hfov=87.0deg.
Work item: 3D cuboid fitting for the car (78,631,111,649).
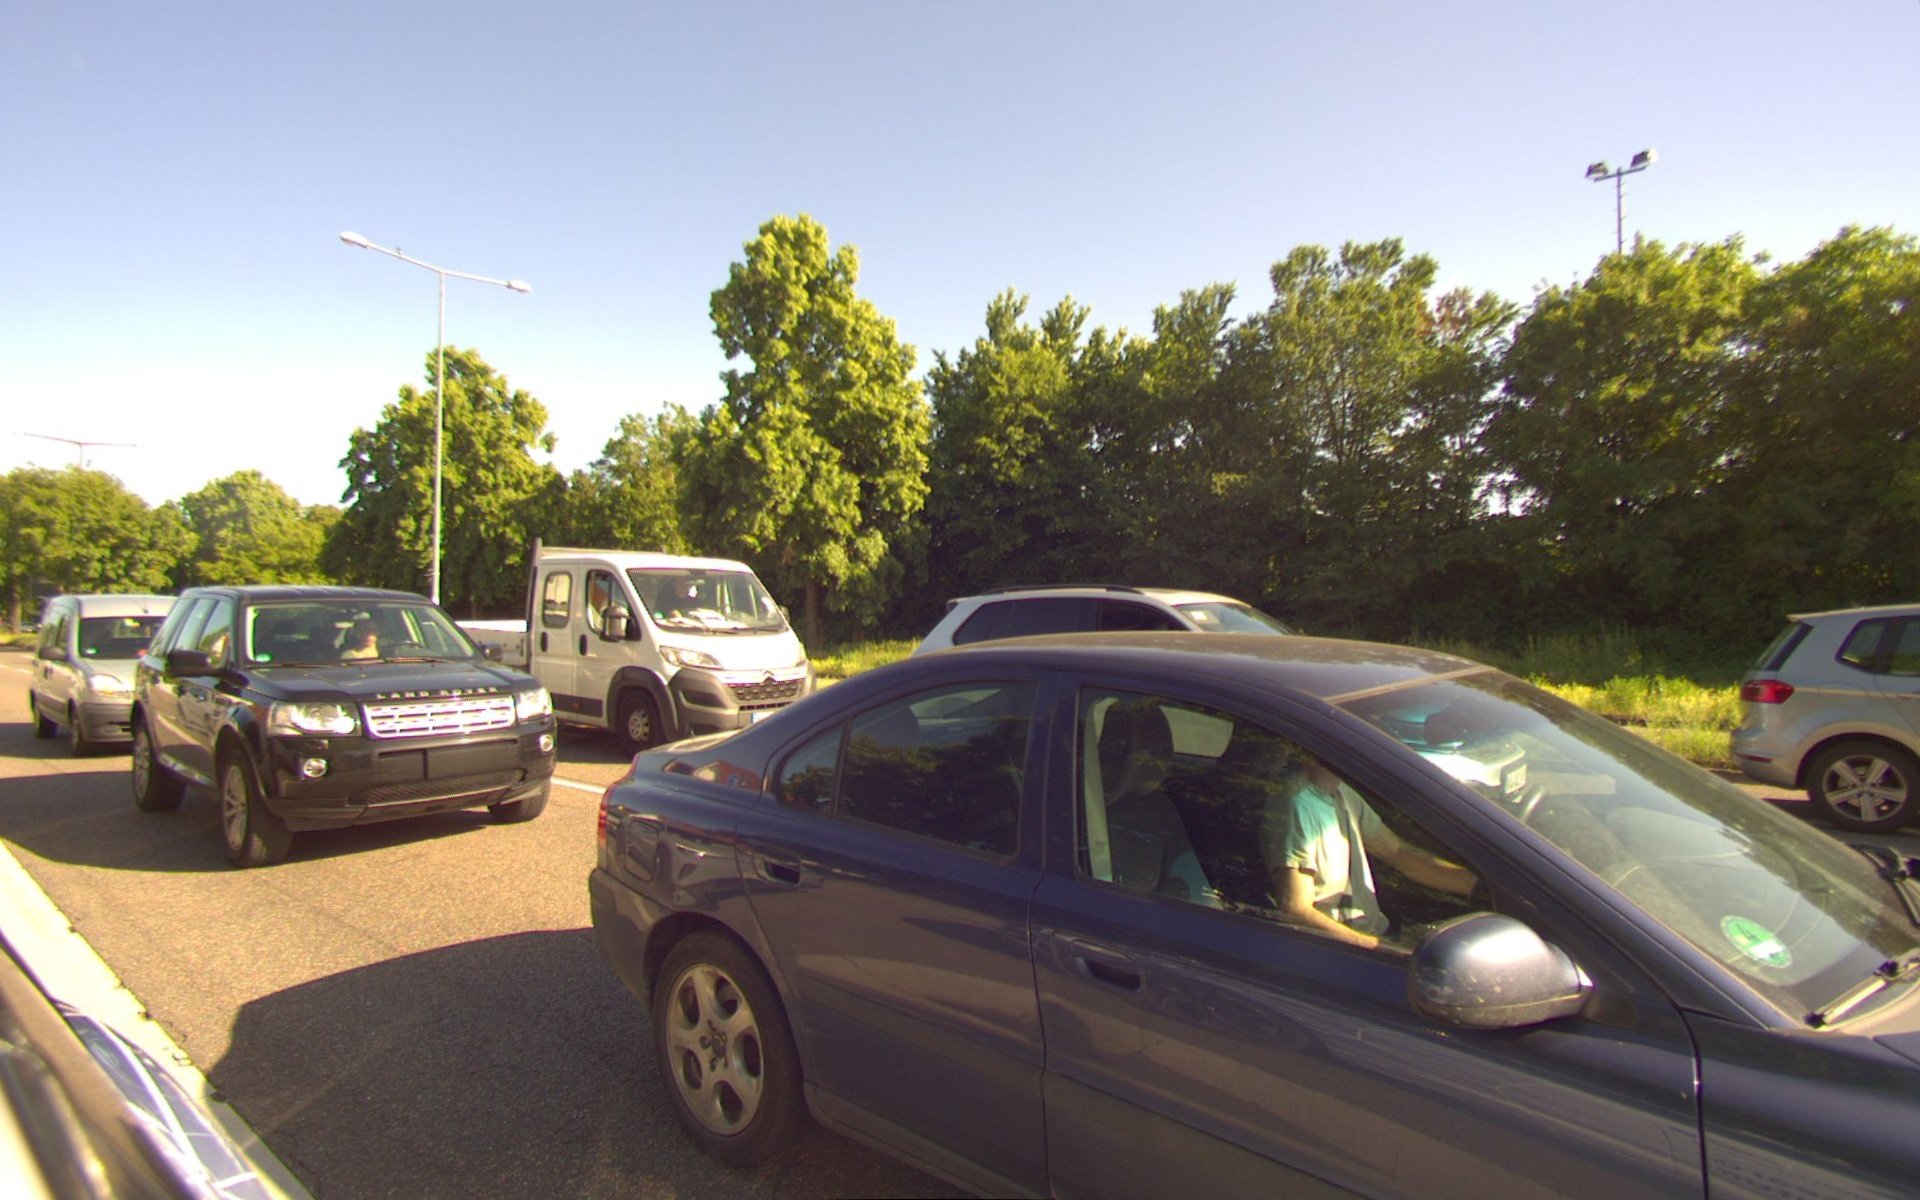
[{"bbox_3d":[-84.470,3.919,98.743,3.998,1.697,1.854,-2,-3,41],"label":"car"}]

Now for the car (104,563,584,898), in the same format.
[{"bbox_3d":[-4.697,0.705,7.423,4.384,1.744,1.793,-1,-1,41],"label":"car"}]

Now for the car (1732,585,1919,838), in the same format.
[{"bbox_3d":[7.628,0.719,6.416,4.206,1.623,1.810,-2,-3,42],"label":"car"}]

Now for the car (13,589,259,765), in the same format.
[{"bbox_3d":[-10.054,0.800,12.225,4.384,1.765,1.611,-1,-1,41],"label":"car"}]

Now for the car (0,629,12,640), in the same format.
[{"bbox_3d":[-133.090,4.773,140.533,3.998,1.428,1.769,-2,-3,41],"label":"car"}]

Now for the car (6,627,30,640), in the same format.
[{"bbox_3d":[-118.753,4.238,127.557,3.998,1.697,1.769,-2,-3,41],"label":"car"}]

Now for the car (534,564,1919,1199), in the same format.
[{"bbox_3d":[0.889,0.694,2.428,4.454,1.463,1.757,-1,0,41],"label":"car"}]

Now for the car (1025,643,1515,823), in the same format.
[{"bbox_3d":[3.029,1.191,10.544,4.550,1.440,1.811,-2,-3,41],"label":"car"}]

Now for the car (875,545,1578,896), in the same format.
[{"bbox_3d":[1.644,0.668,7.198,4.422,1.723,1.973,-2,-3,41],"label":"car"}]

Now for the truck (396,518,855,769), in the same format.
[{"bbox_3d":[-4.437,0.440,12.478,6.838,2.337,2.158,-1,-1,40],"label":"truck"}]
